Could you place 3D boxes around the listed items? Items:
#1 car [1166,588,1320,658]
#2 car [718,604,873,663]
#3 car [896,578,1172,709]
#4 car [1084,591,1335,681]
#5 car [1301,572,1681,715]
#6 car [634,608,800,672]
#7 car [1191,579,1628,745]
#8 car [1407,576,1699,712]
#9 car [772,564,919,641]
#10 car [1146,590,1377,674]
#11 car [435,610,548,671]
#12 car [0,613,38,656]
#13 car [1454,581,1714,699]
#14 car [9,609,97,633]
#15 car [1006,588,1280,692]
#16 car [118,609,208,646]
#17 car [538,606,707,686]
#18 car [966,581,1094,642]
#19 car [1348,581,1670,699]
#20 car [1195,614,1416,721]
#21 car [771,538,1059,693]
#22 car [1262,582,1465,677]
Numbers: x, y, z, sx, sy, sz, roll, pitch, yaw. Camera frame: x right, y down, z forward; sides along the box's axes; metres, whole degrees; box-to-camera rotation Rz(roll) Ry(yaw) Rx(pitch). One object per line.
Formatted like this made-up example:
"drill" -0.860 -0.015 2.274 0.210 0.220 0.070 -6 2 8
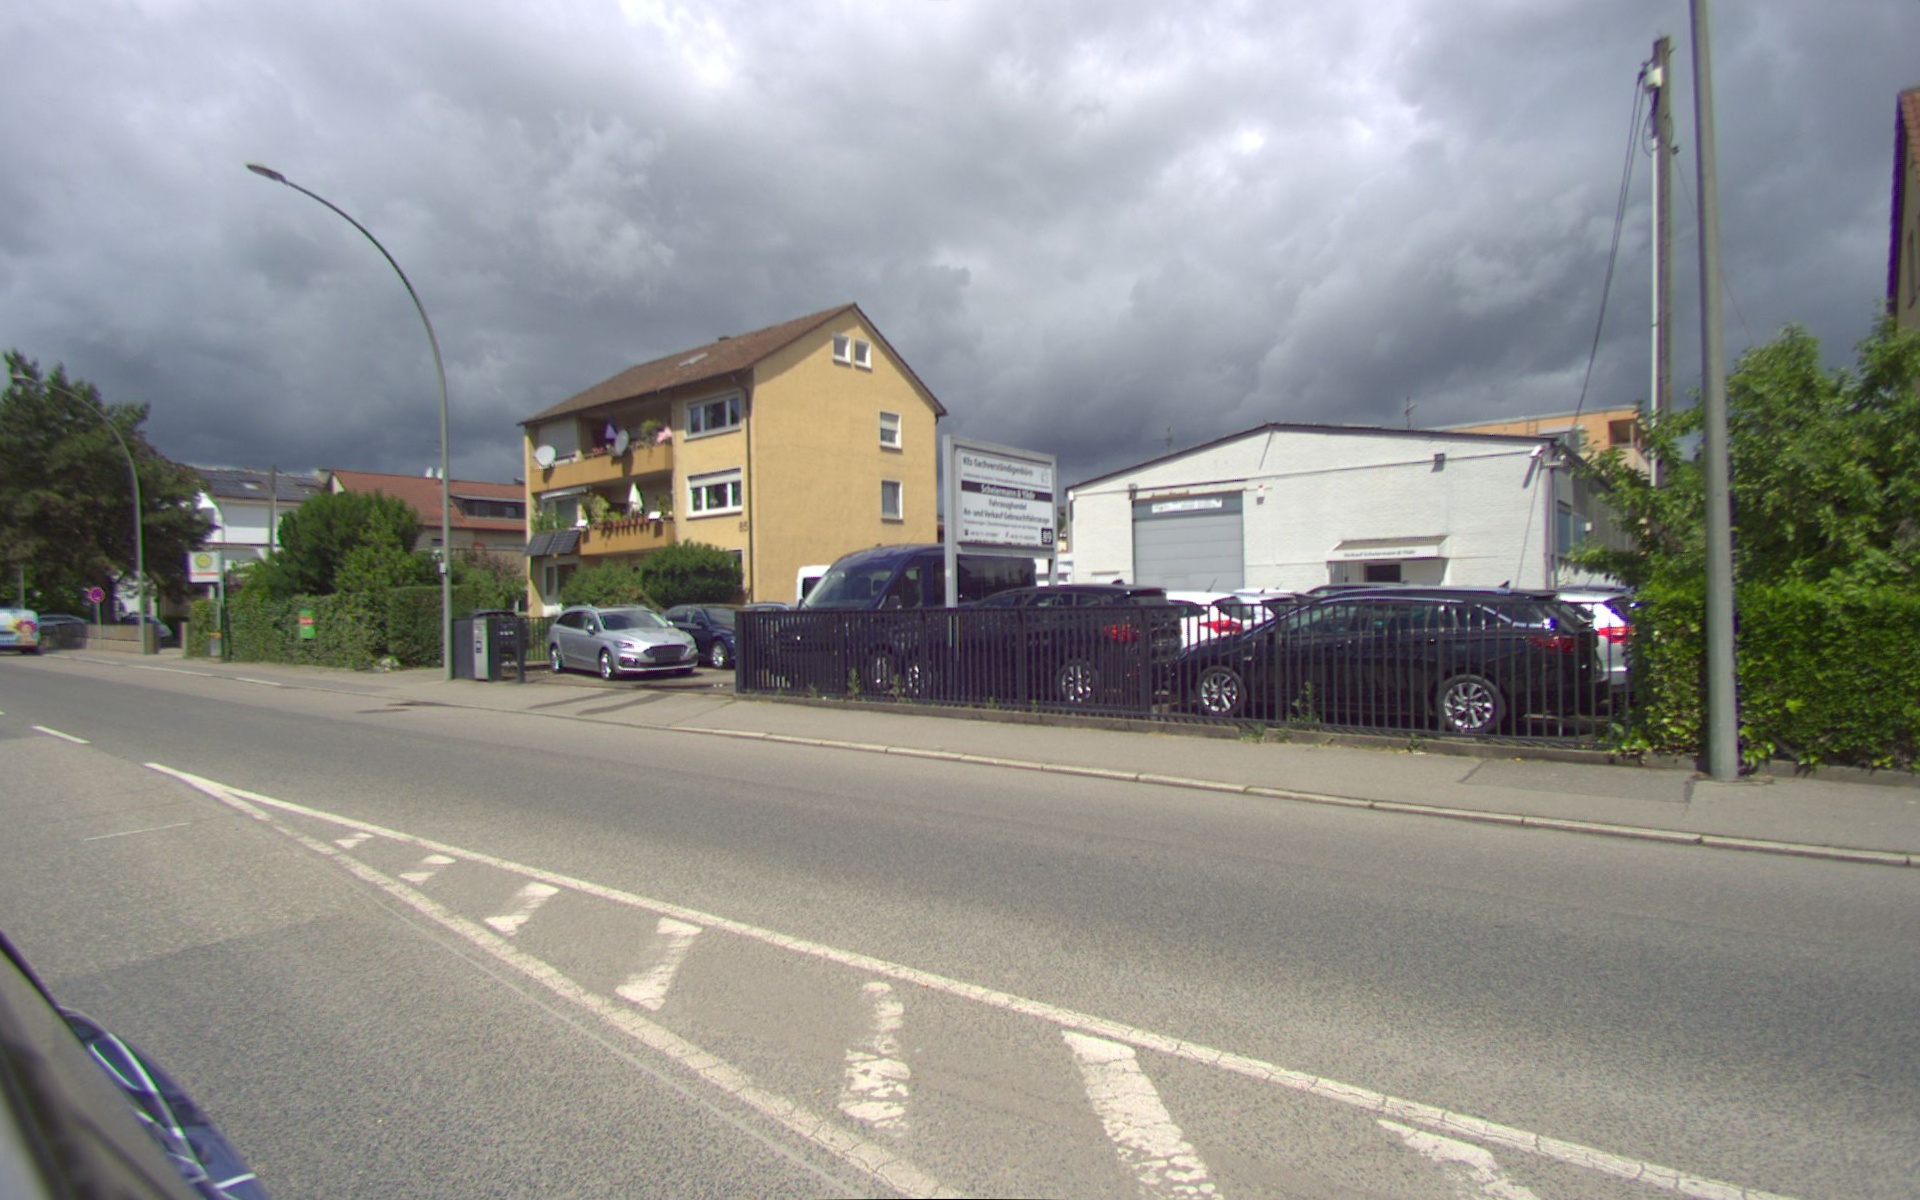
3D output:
"car" 8.454 0.656 30.414 3.998 1.941 1.973 -1 0 41
"car" -4.322 0.832 26.278 3.998 1.383 1.859 -1 0 41
"car" 0.993 0.555 14.531 3.619 1.633 1.790 -1 0 41
"car" 4.351 0.580 17.979 3.998 1.423 1.716 -1 0 41
"car" 6.743 0.485 13.049 3.998 1.552 1.973 -1 0 41
"car" -5.790 0.894 23.880 3.998 1.352 1.861 -1 0 41
"car" 4.808 0.571 11.114 4.040 1.494 1.840 -1 0 40
"car" 10.009 0.668 17.227 3.998 2.029 1.973 -1 0 41
"car" -3.298 0.078 28.710 3.998 2.029 1.973 -1 0 41
"car" 5.876 0.585 19.974 3.998 1.498 1.742 -1 0 41
"car" -14.080 1.162 30.365 3.520 1.678 1.807 -1 0 41
"car" -39.320 1.401 41.460 3.995 1.693 1.708 -1 0 39
"car" 11.965 0.699 19.529 3.998 2.029 1.973 -1 0 41
"car" -68.439 1.539 76.397 2.216 1.691 4.676 -1 0 39
"car" 2.868 0.577 16.305 3.998 1.470 1.795 -1 0 41
"car" -46.370 1.582 58.923 3.954 2.029 1.995 -1 0 9
"car" -7.278 0.897 21.560 1.861 1.470 4.356 -2 1 -41
"car" 2.367 0.382 34.615 3.998 1.941 1.973 -1 0 41
"car" 8.283 0.543 15.435 3.998 1.560 1.973 -1 0 41
"car" 7.295 1.332 21.551 3.998 2.029 1.973 -1 0 41
"car" -0.642 0.220 18.345 2.104 2.402 5.293 -1 0 42
"car" 9.383 0.639 23.689 3.998 2.029 1.973 -1 0 41
